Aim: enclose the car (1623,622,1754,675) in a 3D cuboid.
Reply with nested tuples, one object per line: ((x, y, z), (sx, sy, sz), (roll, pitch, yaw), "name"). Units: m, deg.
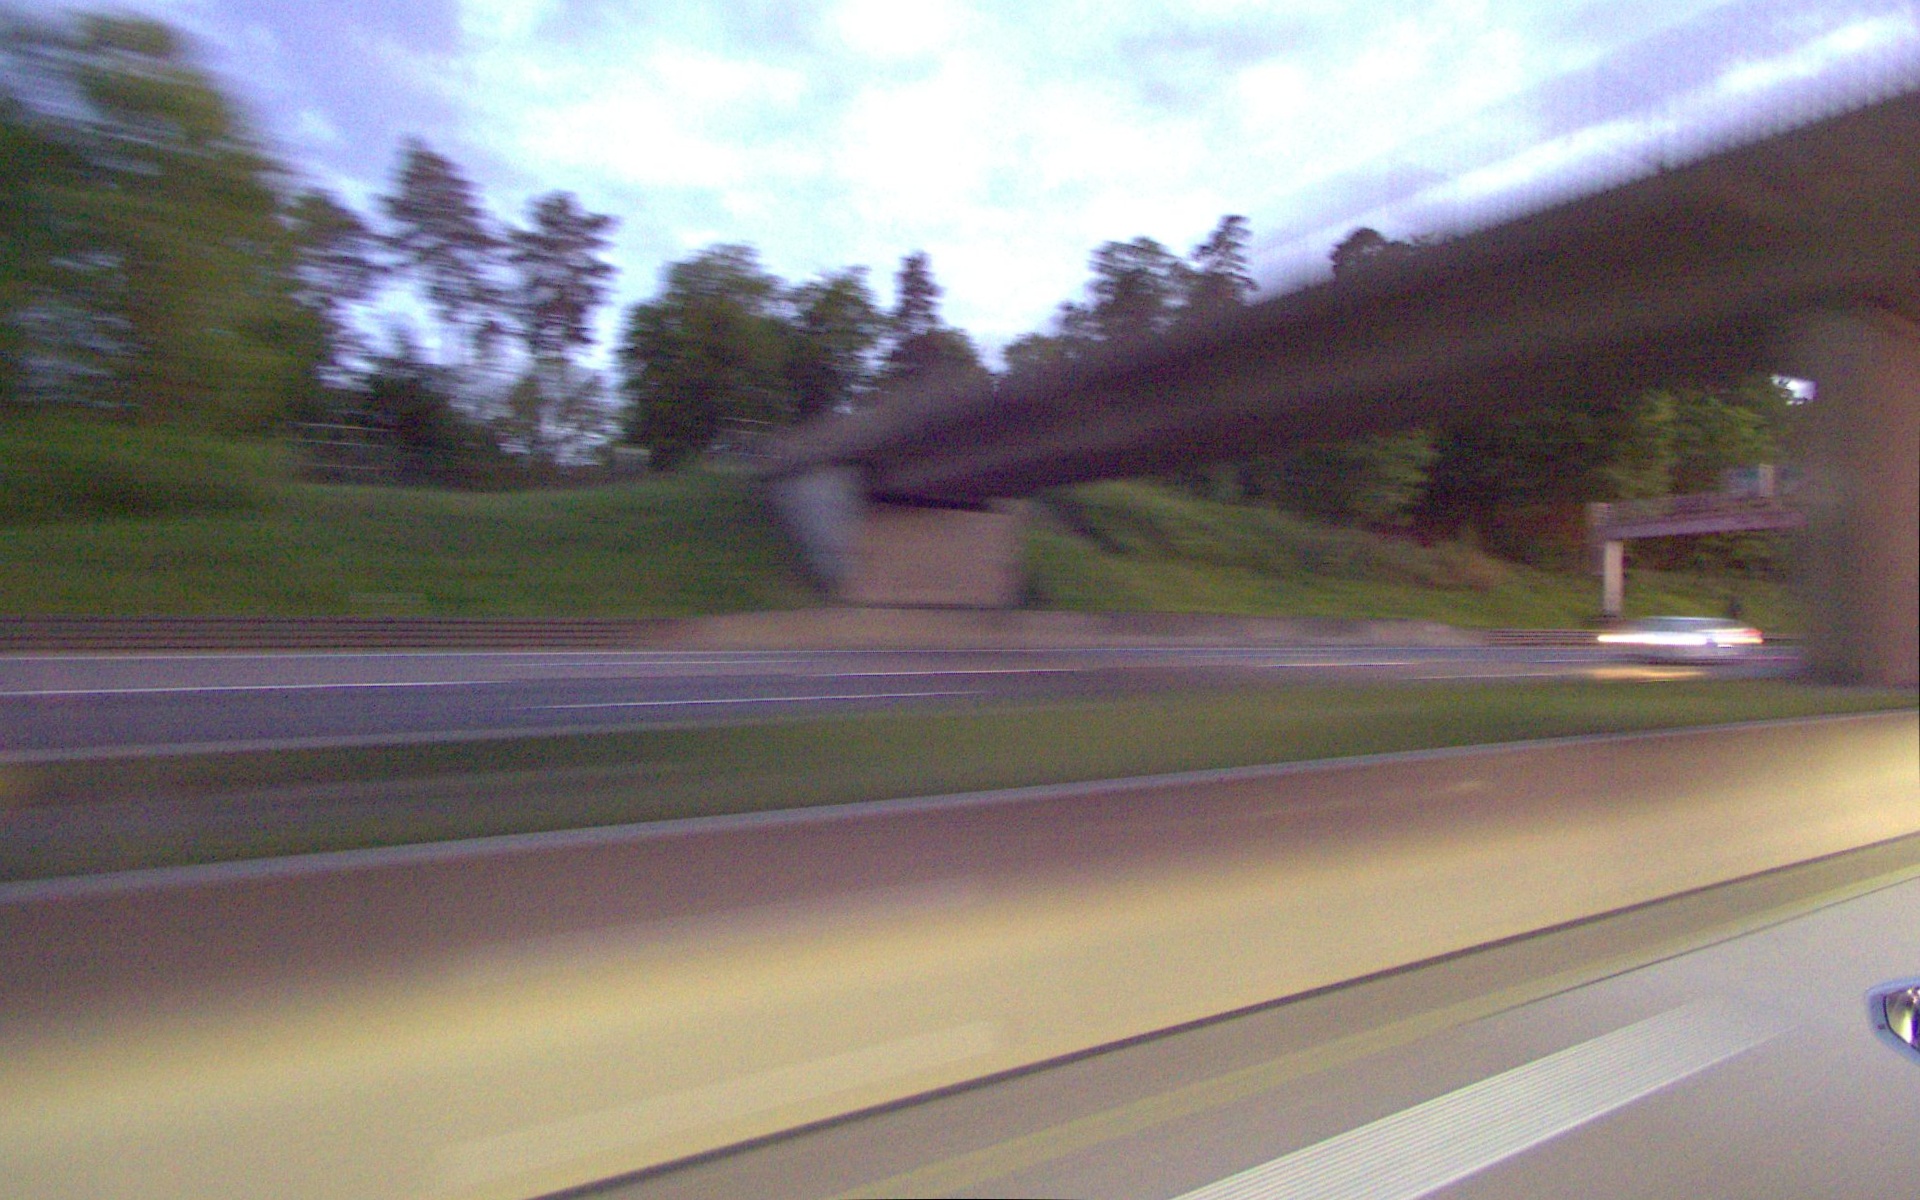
((23.183, 1.500, 31.926), (4.378, 1.541, 1.802), (1, 0, -31), "car")
